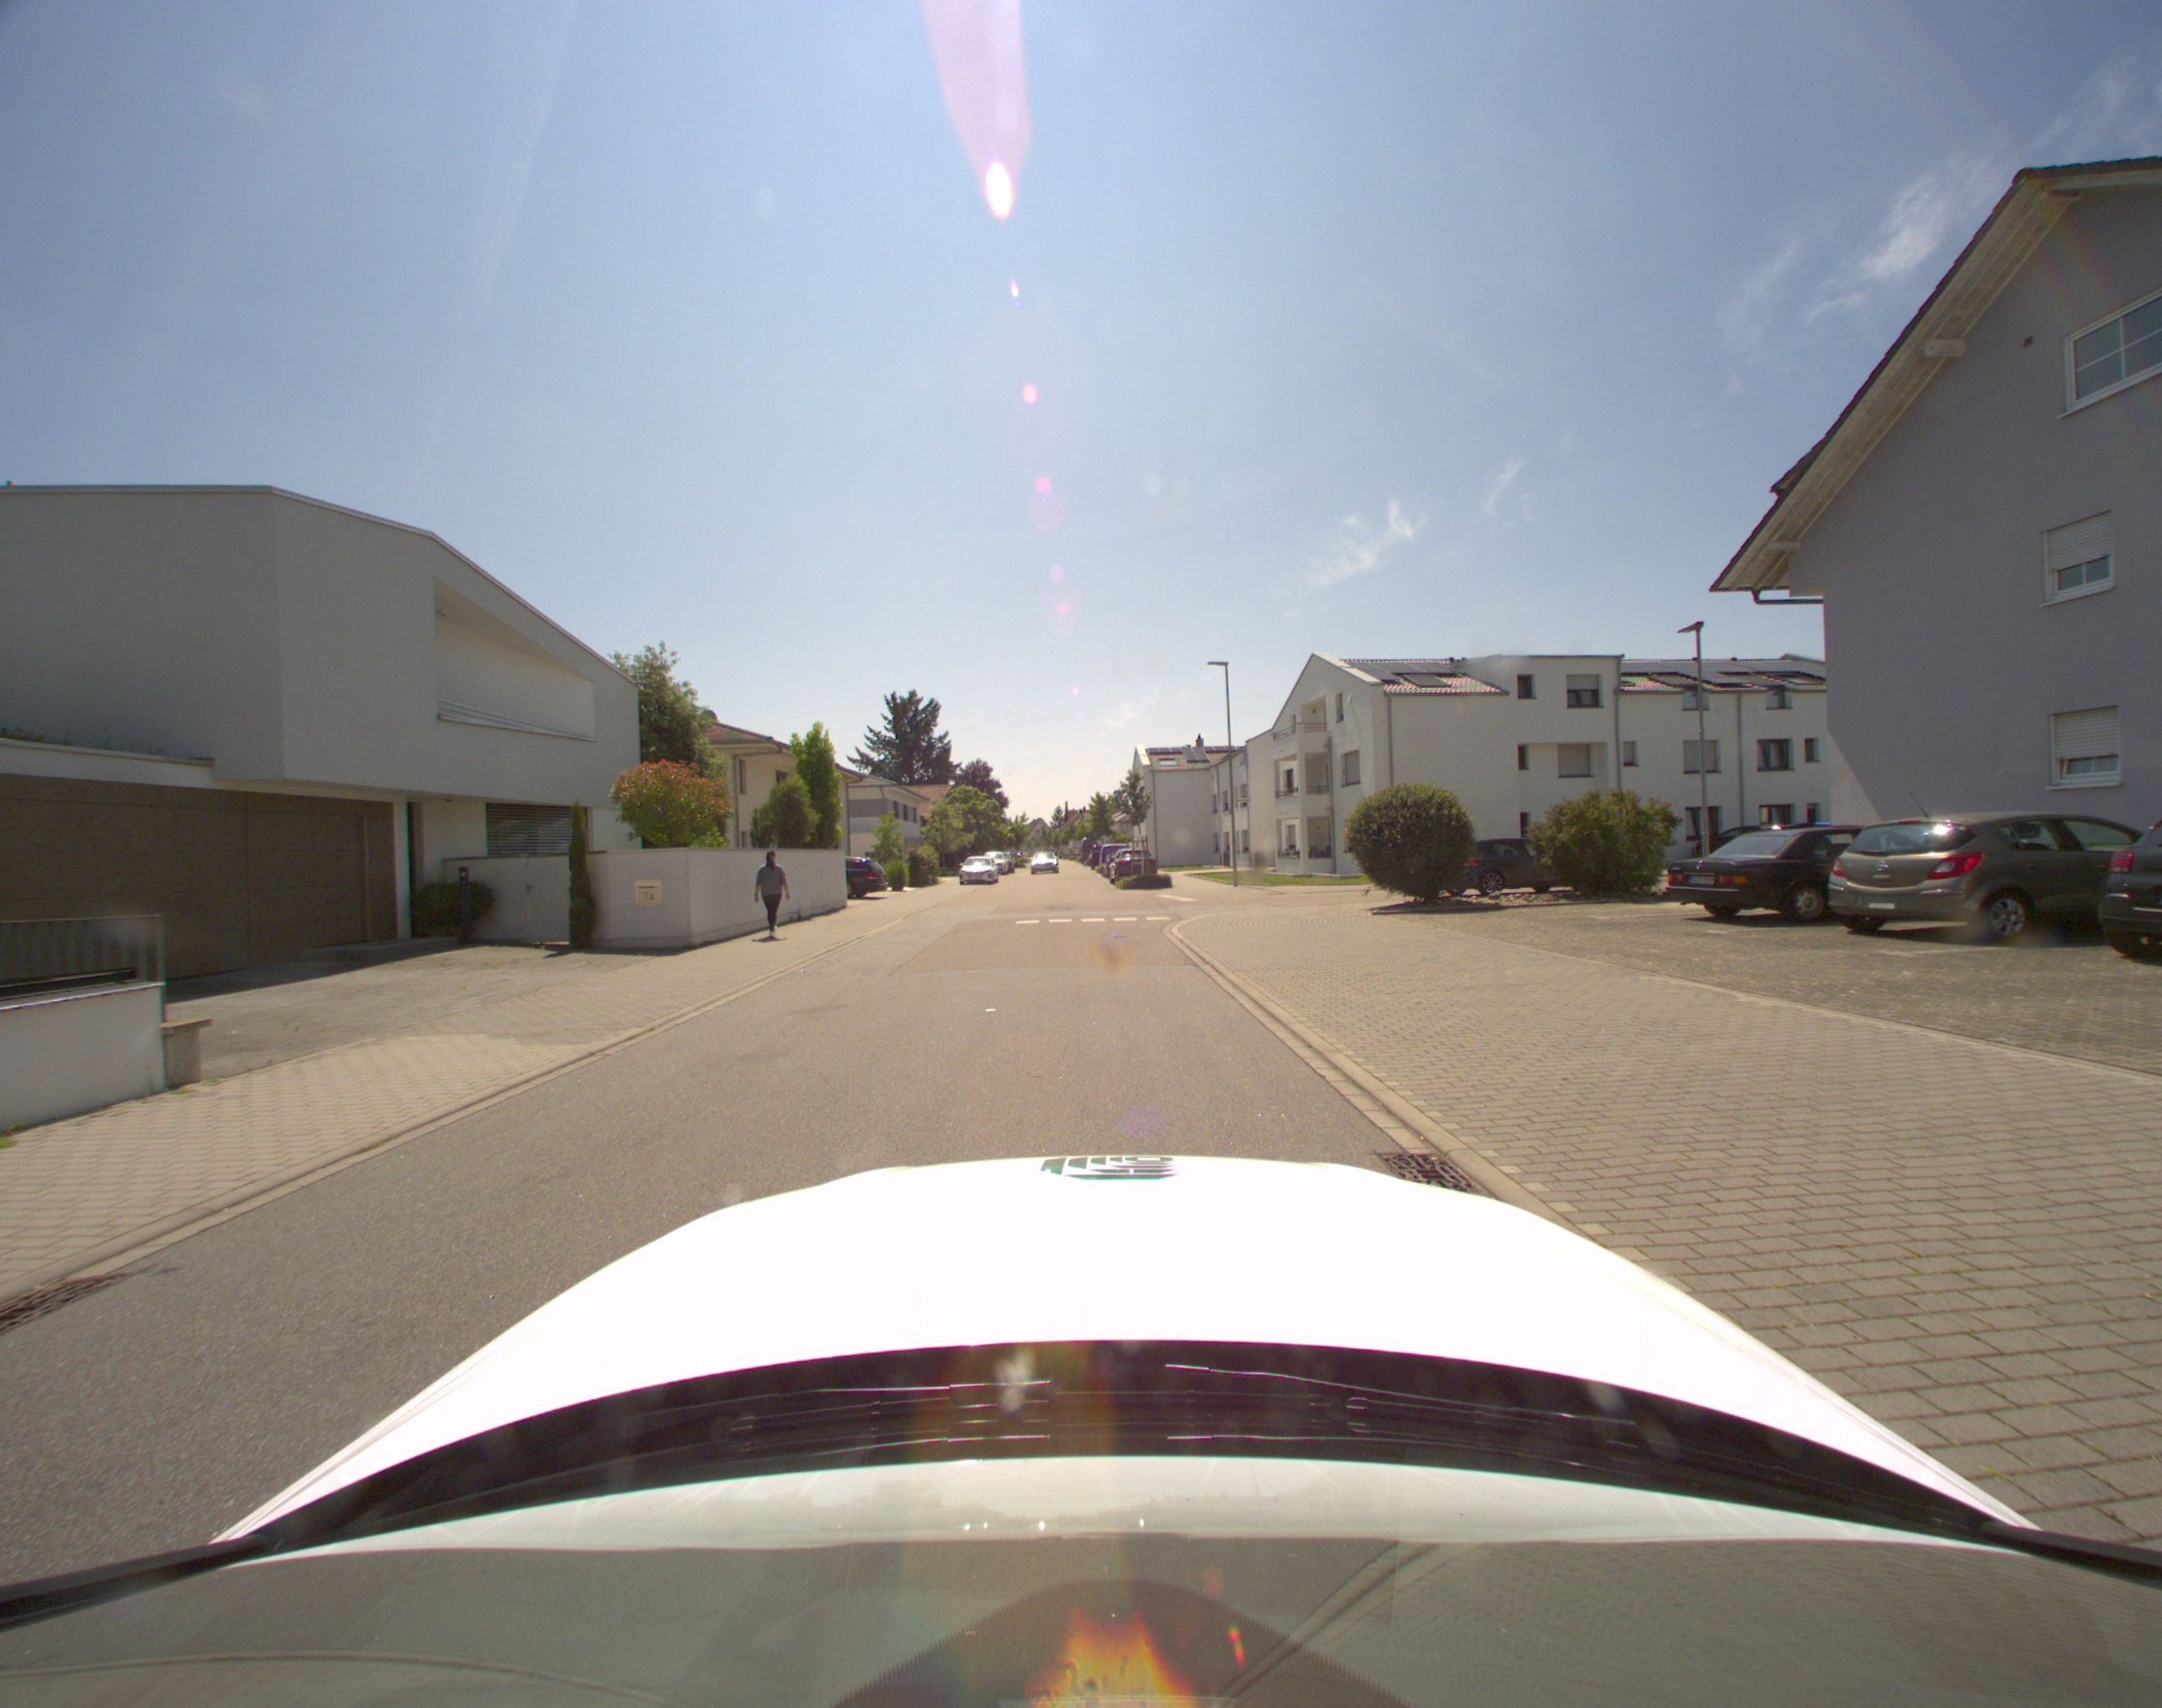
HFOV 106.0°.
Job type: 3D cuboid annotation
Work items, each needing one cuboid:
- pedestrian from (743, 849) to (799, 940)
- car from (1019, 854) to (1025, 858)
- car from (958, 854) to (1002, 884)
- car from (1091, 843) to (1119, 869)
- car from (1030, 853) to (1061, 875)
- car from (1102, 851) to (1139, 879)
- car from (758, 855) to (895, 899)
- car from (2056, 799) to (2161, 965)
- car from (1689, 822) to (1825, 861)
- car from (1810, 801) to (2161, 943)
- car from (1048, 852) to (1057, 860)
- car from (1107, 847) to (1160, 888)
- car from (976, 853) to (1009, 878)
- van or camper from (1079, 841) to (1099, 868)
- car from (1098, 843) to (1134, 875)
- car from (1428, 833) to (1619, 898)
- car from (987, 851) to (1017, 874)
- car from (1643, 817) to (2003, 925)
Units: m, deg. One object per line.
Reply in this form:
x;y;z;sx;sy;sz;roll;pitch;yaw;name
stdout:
-6.173;0.781;16.257;0.712;1.747;0.960;-2;0;-1;pedestrian
-17.783;0.604;246.000;1.658;1.250;3.930;-2;0;-1;car
-5.453;0.776;44.379;1.846;1.488;4.383;-2;0;-1;car
1.929;0.154;66.850;1.988;1.947;5.212;-3;0;-1;car
-2.486;0.687;57.938;1.846;1.478;4.700;-2;0;1;car
2.186;0.608;46.039;1.676;1.441;4.022;-2;0;-3;car
-9.324;0.811;30.077;4.410;1.473;1.852;1;0;2;car
11.478;0.190;7.445;3.497;1.496;1.660;-2;0;-7;car
26.511;-0.467;32.113;1.749;1.412;3.997;-2;0;-7;car
11.387;0.176;10.031;3.439;1.494;1.662;-2;0;-5;car
-6.491;0.480;185.913;1.988;1.574;3.998;-2;0;-1;car
2.259;0.557;35.937;1.769;1.595;4.274;-4;0;-3;car
-6.383;0.784;59.330;1.921;1.687;4.496;-2;0;-1;car
0.871;0.063;91.769;1.988;2.941;3.998;-1;0;-1;van or camper
2.203;0.305;52.654;2.093;1.882;4.842;-2;0;0;car
11.338;0.277;21.048;3.981;1.467;1.755;-2;0;-2;car
-6.332;0.650;65.732;1.988;1.680;4.213;-2;0;-1;car
11.209;0.227;12.465;4.194;1.374;1.662;-2;0;-5;car
